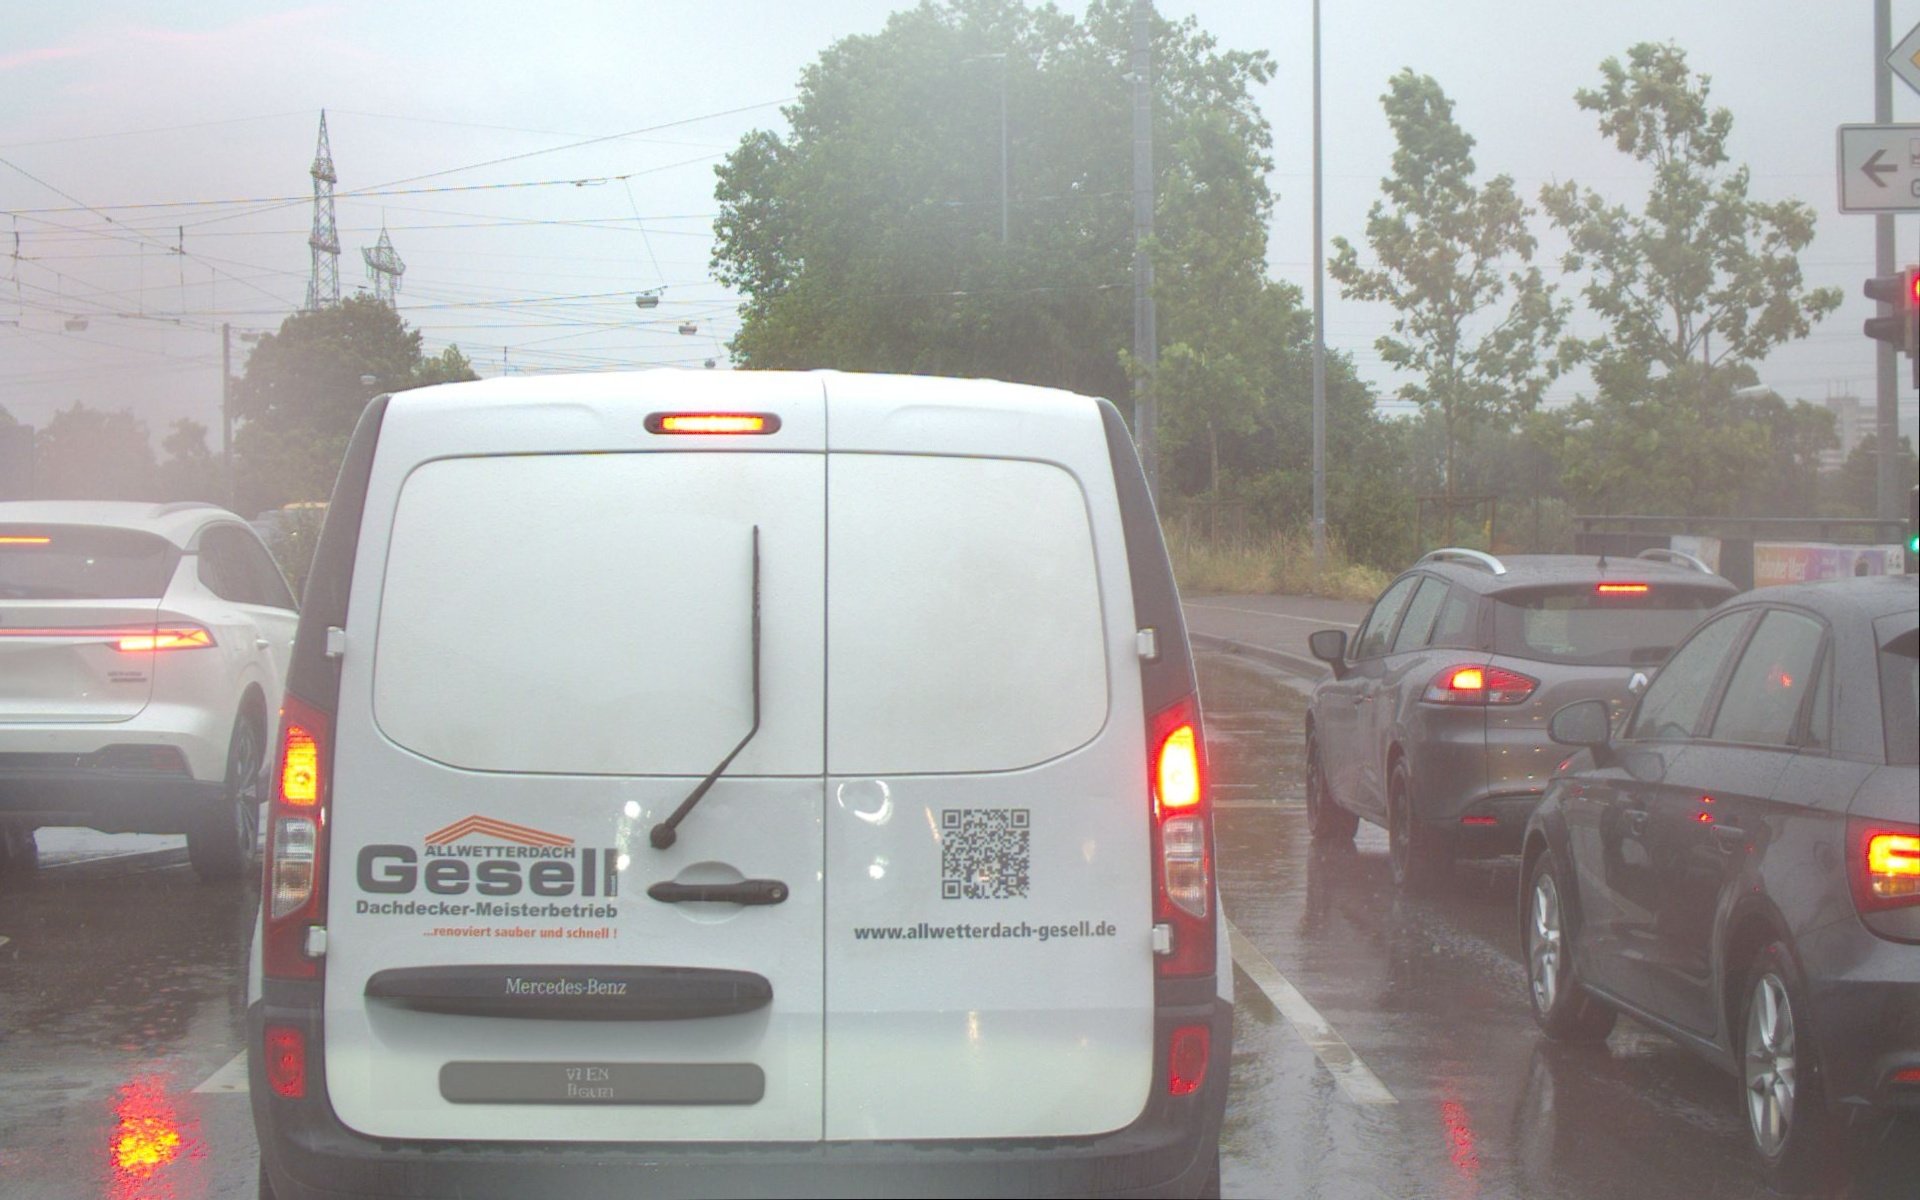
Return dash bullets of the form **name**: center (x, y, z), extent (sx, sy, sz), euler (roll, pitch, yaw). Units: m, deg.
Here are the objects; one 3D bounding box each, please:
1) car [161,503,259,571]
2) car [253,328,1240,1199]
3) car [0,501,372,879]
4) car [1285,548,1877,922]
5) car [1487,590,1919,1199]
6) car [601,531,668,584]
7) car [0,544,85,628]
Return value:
- **car**: center (-22.672, -1.893, 104.063), extent (1.993, 2.007, 4.000), euler (1, 1, 1)
- **car**: center (-0.363, 0.436, 7.480), extent (1.566, 1.782, 4.000), euler (0, 1, -1)
- **car**: center (-3.945, 0.310, 16.170), extent (1.728, 1.530, 4.298), euler (1, 1, -2)
- **car**: center (2.640, 0.508, 15.518), extent (1.859, 1.424, 3.808), euler (1, 1, -2)
- **car**: center (2.519, 0.672, 8.931), extent (1.629, 1.340, 3.624), euler (1, 1, -2)
- **car**: center (-9.450, -1.238, 99.701), extent (1.614, 1.498, 3.716), euler (1, 1, -10)
- **car**: center (-21.323, -0.334, 77.438), extent (1.929, 1.820, 3.999), euler (1, 1, 4)
